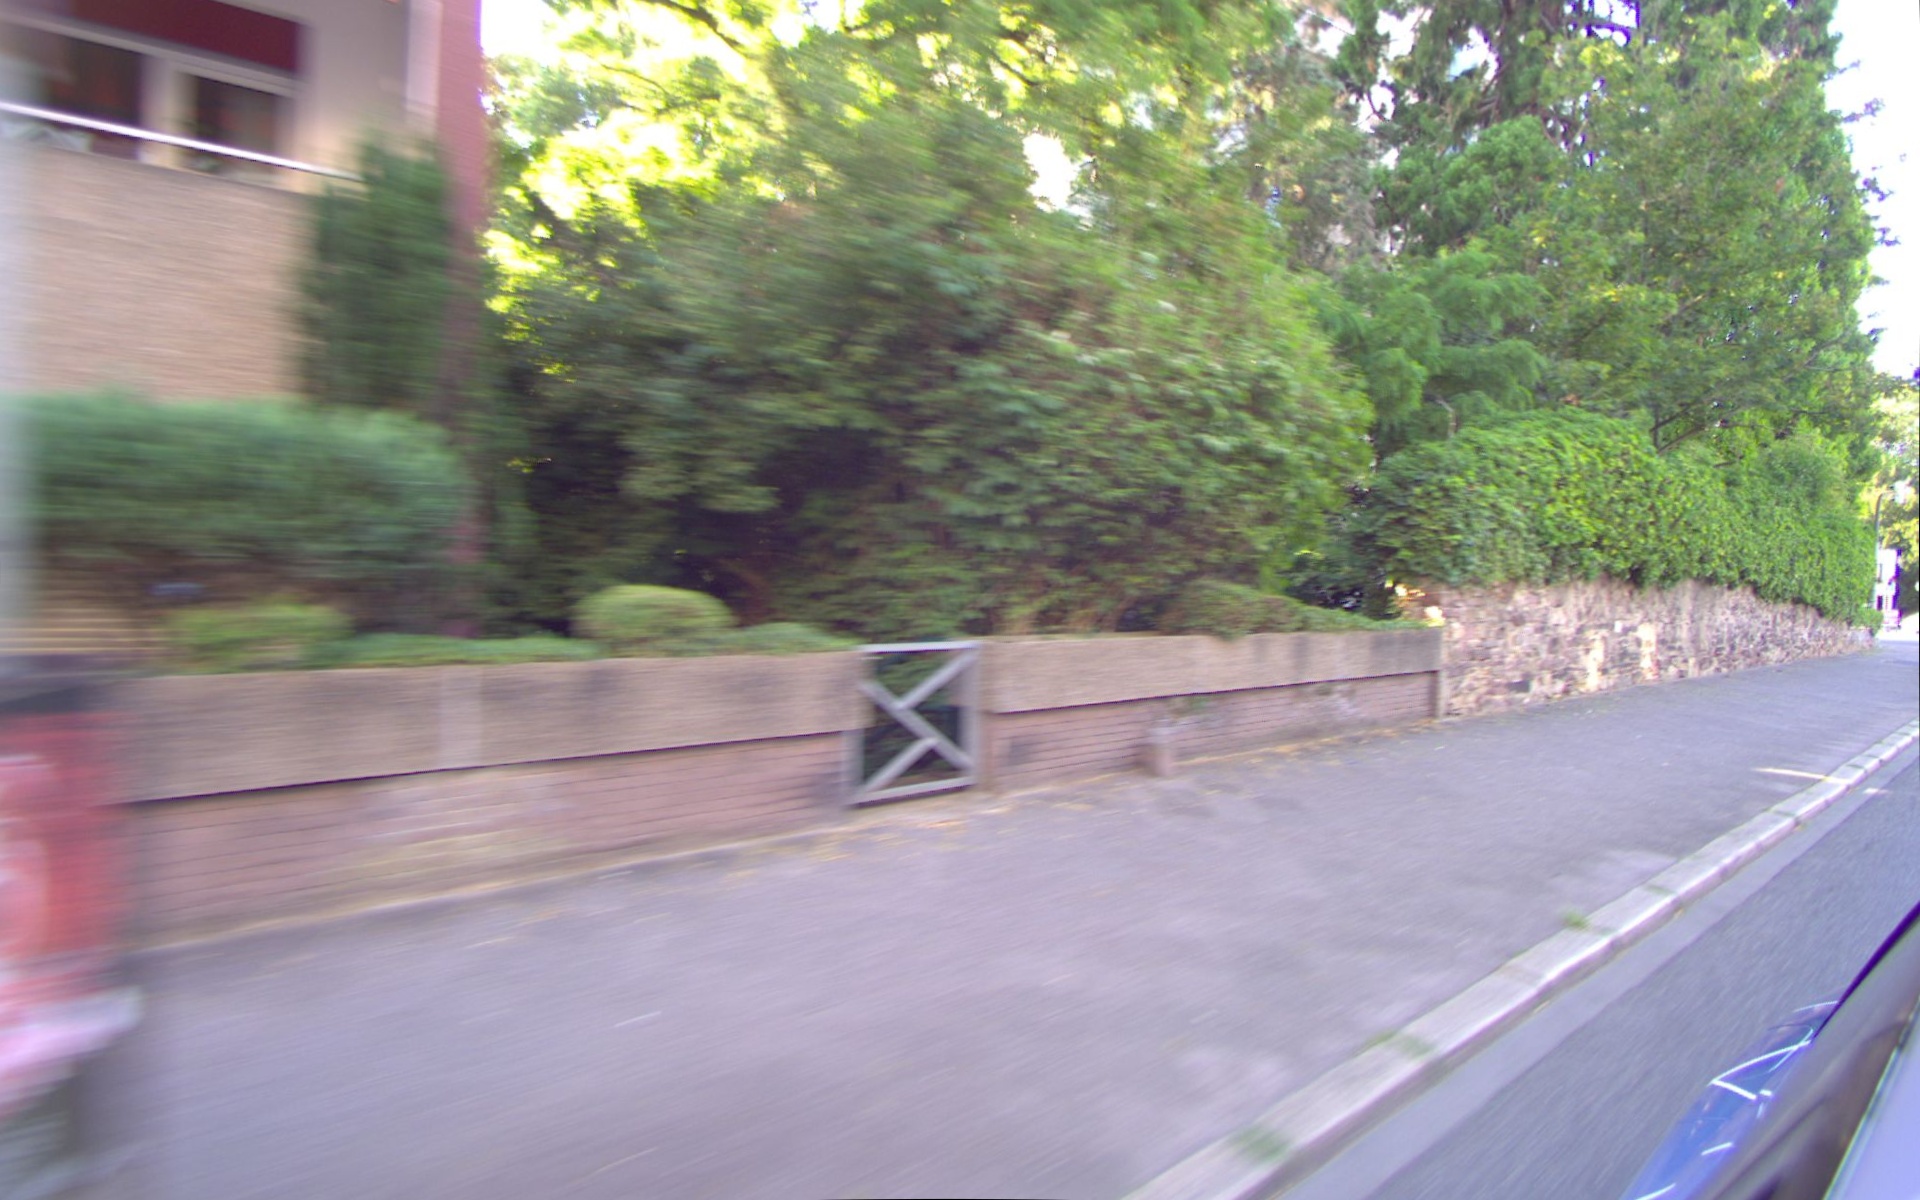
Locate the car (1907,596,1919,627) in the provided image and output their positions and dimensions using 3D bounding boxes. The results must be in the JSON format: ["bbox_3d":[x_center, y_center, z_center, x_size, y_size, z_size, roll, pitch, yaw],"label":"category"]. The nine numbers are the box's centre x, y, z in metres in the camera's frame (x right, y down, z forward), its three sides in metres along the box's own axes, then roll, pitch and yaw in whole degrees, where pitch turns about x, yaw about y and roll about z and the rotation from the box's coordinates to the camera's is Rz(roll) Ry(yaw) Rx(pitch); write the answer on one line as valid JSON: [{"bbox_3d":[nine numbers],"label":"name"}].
[{"bbox_3d":[47.968,0.591,48.316,1.749,1.499,4.092,2,0,4],"label":"car"}]
